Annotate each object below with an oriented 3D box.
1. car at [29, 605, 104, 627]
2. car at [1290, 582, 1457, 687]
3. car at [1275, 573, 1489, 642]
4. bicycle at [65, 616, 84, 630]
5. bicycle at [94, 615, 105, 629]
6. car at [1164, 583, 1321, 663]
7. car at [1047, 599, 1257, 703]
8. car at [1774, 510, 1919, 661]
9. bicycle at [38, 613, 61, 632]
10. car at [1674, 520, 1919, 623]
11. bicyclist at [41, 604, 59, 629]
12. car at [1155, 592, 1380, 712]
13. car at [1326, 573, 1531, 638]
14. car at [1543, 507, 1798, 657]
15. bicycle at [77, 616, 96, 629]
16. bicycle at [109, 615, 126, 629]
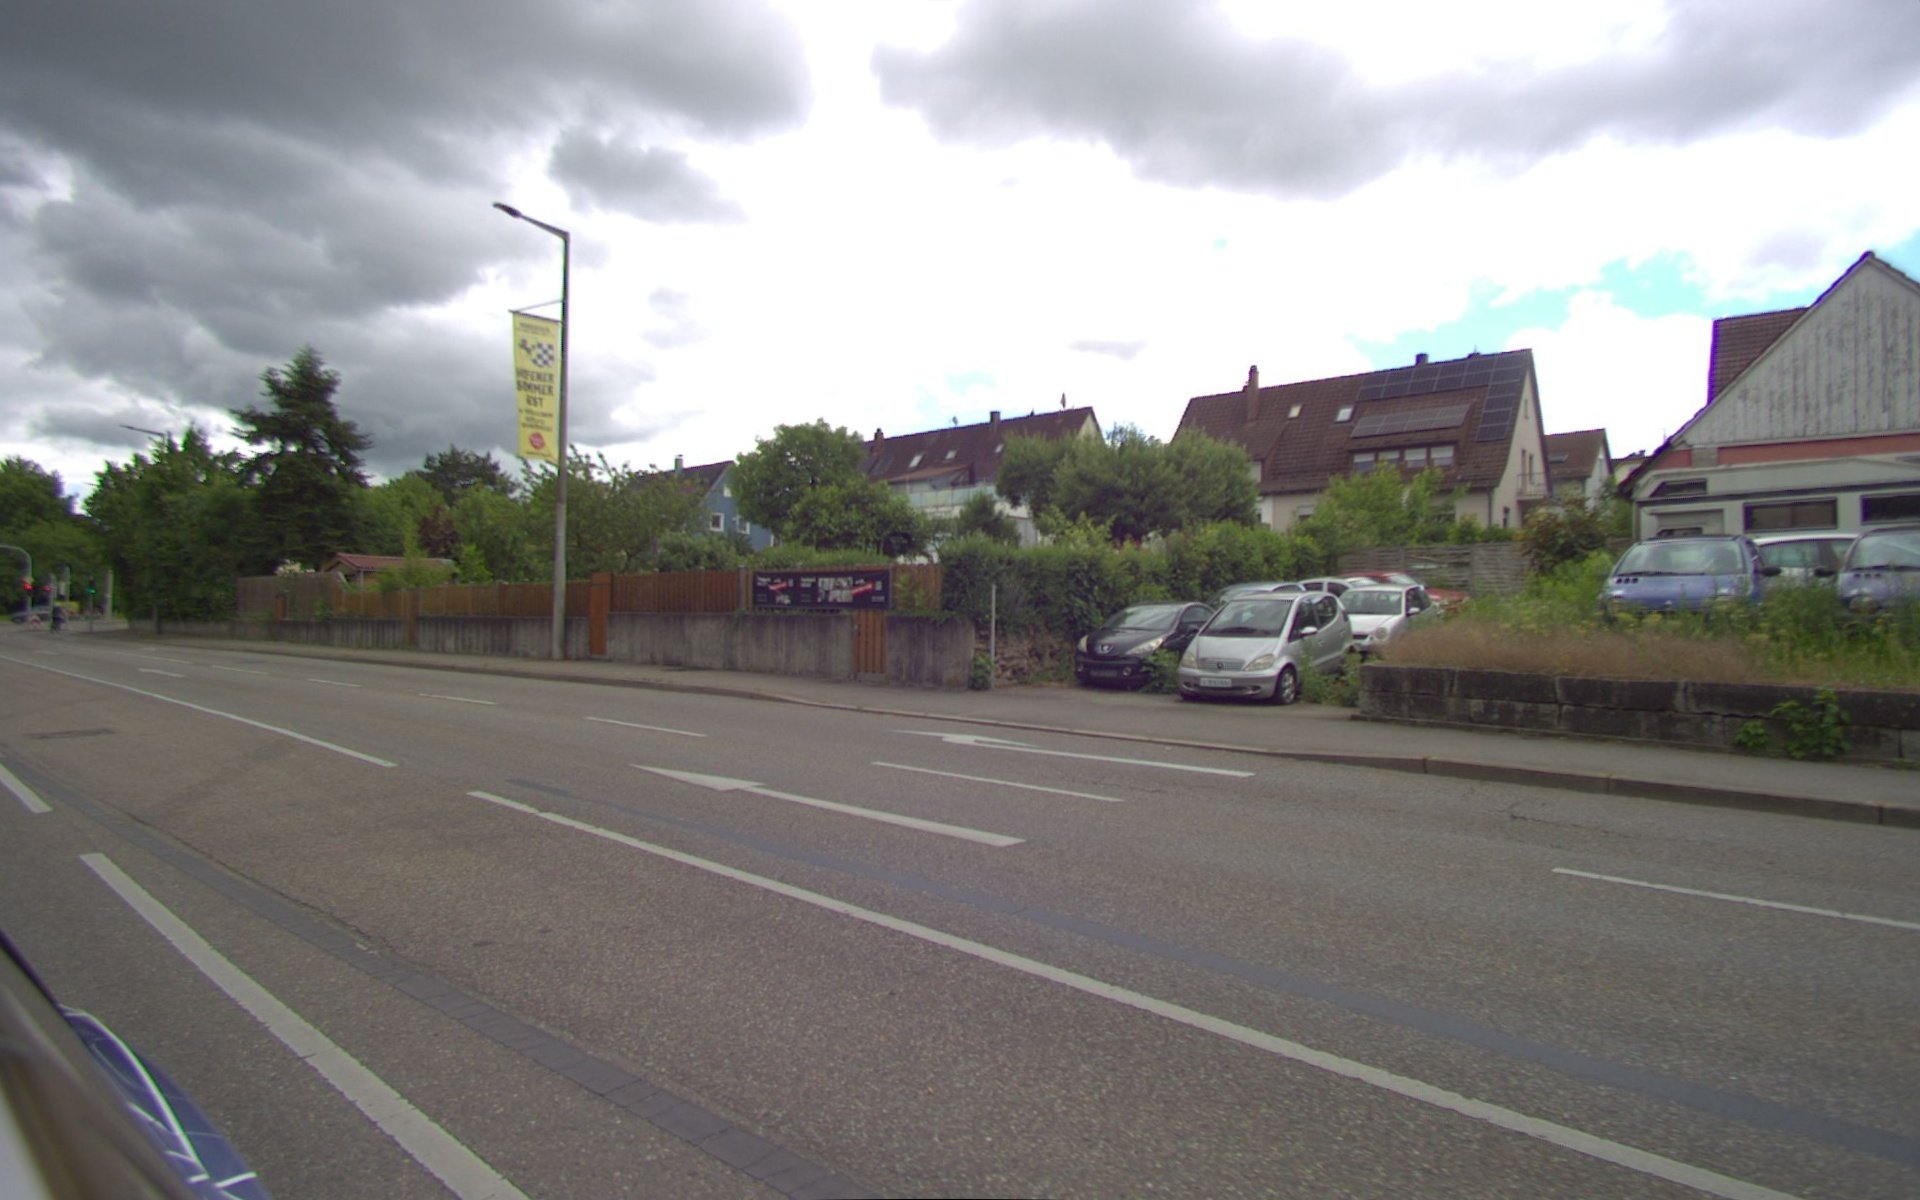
[{"bbox_3d":[-80.613,1.462,91.365,4.667,1.867,2.005,-1,1,-13],"label":"car"},{"bbox_3d":[8.315,0.584,20.168,1.881,1.864,3.945,0,1,42],"label":"car"},{"bbox_3d":[10.036,0.134,24.379,1.900,1.508,4.412,-1,1,-36],"label":"car"},{"bbox_3d":[-84.906,2.167,97.056,0.537,1.262,1.940,0,1,-12],"label":"bicycle"},{"bbox_3d":[-83.167,2.146,97.791,0.536,1.262,1.941,-1,1,-32],"label":"bicycle"},{"bbox_3d":[6.260,0.433,22.180,1.774,1.581,3.945,0,1,42],"label":"car"},{"bbox_3d":[3.566,0.818,18.341,2.000,1.616,3.945,0,1,42],"label":"car"},{"bbox_3d":[10.206,-0.160,11.130,3.941,1.421,1.534,-1,1,-45],"label":"car"},{"bbox_3d":[-56.742,1.409,63.051,2.144,1.154,0.636,-1,0,37],"label":"bicycle"},{"bbox_3d":[12.847,-0.362,14.306,4.396,1.352,1.829,-1,-1,39],"label":"car"},{"bbox_3d":[-56.671,1.007,63.014,0.977,1.546,0.636,-1,0,36],"label":"bicyclist"},{"bbox_3d":[5.022,0.713,16.230,2.000,1.629,3.945,0,1,42],"label":"car"},{"bbox_3d":[11.955,0.099,26.075,1.967,1.522,4.412,-1,1,-35],"label":"car"},{"bbox_3d":[8.652,-0.211,12.189,3.941,1.508,1.860,-1,1,-45],"label":"car"},{"bbox_3d":[-84.045,2.158,97.361,0.537,1.262,1.940,0,1,-12],"label":"bicycle"},{"bbox_3d":[-81.868,2.130,98.364,0.536,1.262,1.941,-1,1,-16],"label":"bicycle"}]
